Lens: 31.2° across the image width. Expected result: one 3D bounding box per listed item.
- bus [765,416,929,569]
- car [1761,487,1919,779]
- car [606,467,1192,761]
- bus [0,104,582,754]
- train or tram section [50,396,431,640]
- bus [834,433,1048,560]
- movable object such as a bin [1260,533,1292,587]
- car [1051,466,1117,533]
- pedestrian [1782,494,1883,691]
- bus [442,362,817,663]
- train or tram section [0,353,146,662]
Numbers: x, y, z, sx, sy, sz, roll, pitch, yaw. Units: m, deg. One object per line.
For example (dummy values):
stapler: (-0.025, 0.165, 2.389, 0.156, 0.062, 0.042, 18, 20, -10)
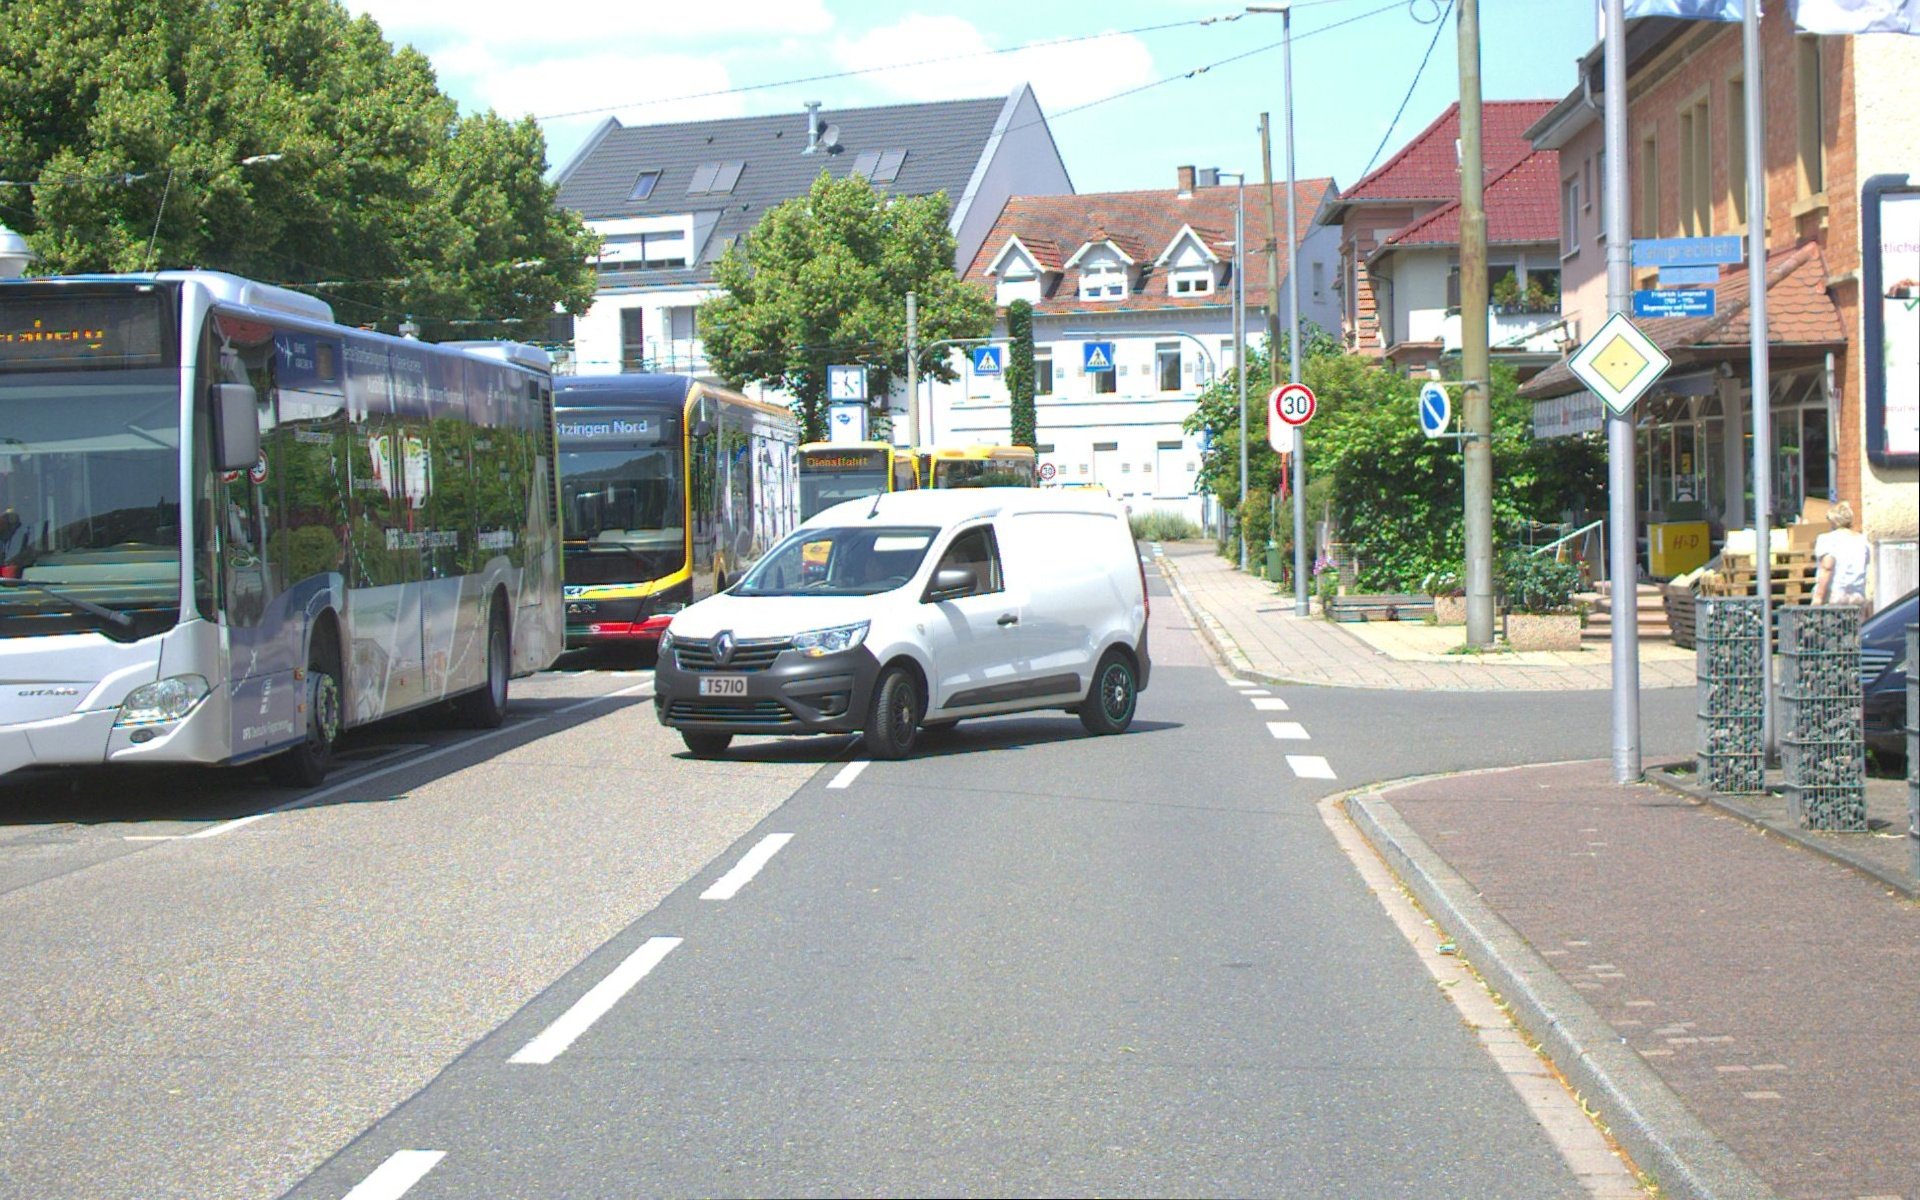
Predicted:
bus: (-2.486, -2.453, 79.747, 2.907, 3.236, 12.118, 1, 1, 2)
car: (6.728, 0.125, 19.368, 3.875, 1.537, 1.843, -1, 1, -10)
car: (-0.299, 0.000, 24.083, 1.707, 1.844, 4.704, 1, 2, 34)
bus: (-5.018, -0.962, 24.213, 2.908, 3.415, 12.039, 1, 0, 2)
train or tram section: (-11.939, -1.401, 58.865, 2.963, 3.630, 13.993, 1, 1, 3)
bus: (-0.351, -2.888, 93.251, 2.781, 3.197, 12.299, 1, 3, 14)
movable object such as a bin: (5.532, -0.702, 60.213, 0.406, 0.904, 0.729, -4, 0, 0)
car: (3.950, -3.161, 109.008, 1.994, 2.007, 4.000, 1, 0, 3)
pedestrian: (7.474, -0.070, 29.444, 0.706, 1.635, 0.659, -1, 3, 23)
bus: (-3.857, -1.001, 43.500, 2.898, 3.236, 12.195, 1, 0, 3)
train or tram section: (-12.872, -1.043, 37.790, 2.963, 3.630, 17.351, 1, 1, 3)
